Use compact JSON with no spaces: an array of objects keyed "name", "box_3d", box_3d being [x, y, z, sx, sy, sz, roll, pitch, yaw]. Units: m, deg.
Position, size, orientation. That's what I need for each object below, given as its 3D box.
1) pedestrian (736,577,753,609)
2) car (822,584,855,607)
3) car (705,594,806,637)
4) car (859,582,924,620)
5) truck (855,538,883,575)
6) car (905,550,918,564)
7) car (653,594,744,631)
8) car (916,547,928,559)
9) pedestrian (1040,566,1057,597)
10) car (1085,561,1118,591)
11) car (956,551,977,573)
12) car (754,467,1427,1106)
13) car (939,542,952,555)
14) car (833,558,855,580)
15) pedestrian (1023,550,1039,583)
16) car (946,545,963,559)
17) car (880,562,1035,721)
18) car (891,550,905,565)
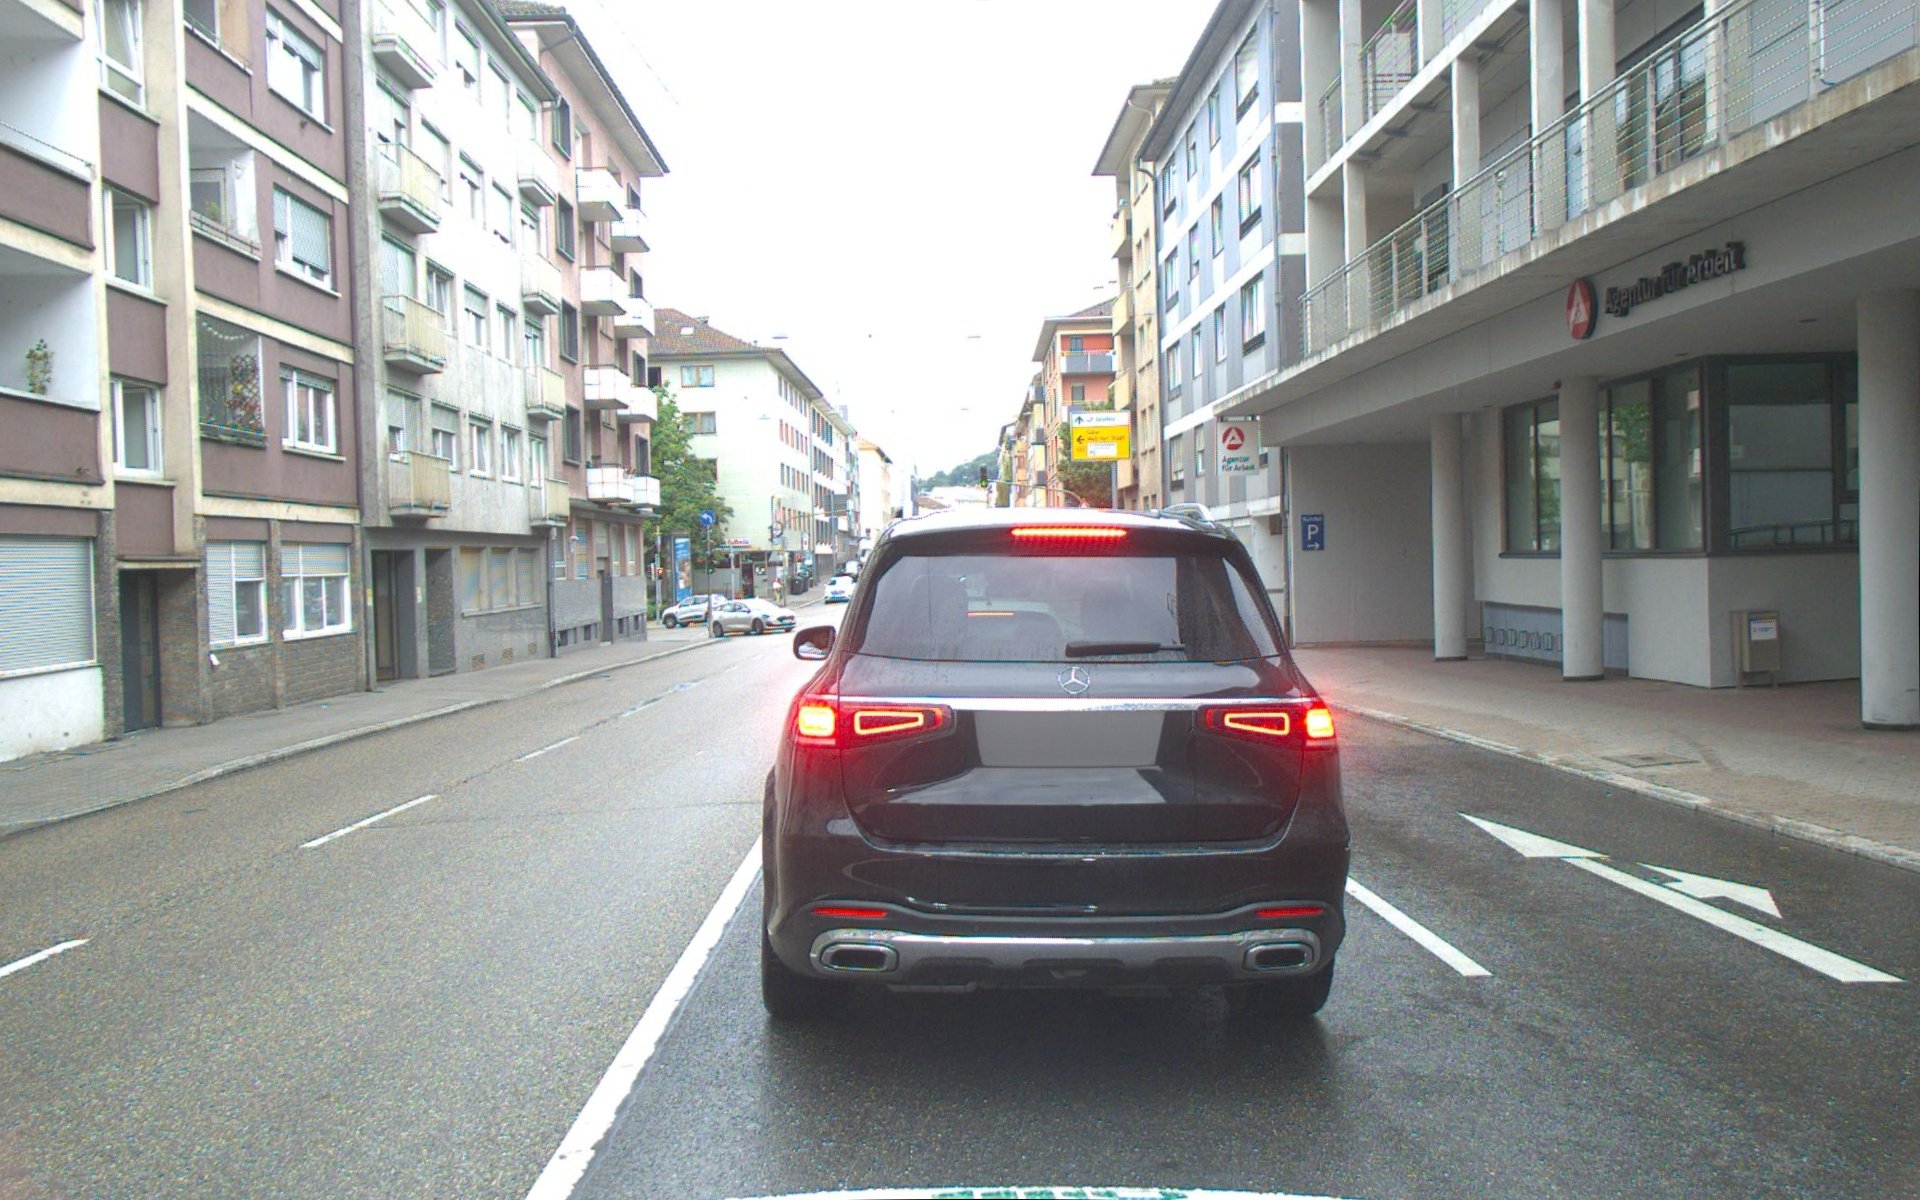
[{"name":"pedestrian","box_3d":[-13.252,-0.442,101.776,0.904,1.935,0.706,-2,0,-3]},{"name":"car","box_3d":[-7.355,-0.268,100.662,1.848,1.286,4.215,-3,0,-3]},{"name":"car","box_3d":[-8.591,0.642,69.235,4.279,1.566,1.768,-3,0,41]},{"name":"car","box_3d":[-3.159,0.067,75.797,1.788,1.566,4.193,-3,0,-19]},{"name":"truck","box_3d":[-8.601,-4.050,156.949,2.430,3.099,9.914,-3,0,-3]},{"name":"car","box_3d":[-6.477,-5.714,219.221,1.586,1.566,4.215,-3,0,-3]},{"name":"car","box_3d":[-13.010,0.617,82.192,4.116,1.566,1.624,-3,0,19]},{"name":"car","box_3d":[-5.804,-7.162,250.183,1.586,1.566,4.215,-3,0,-3]},{"name":"pedestrian","box_3d":[5.332,-1.127,99.487,0.904,1.836,0.706,-2,0,-3]},{"name":"car","box_3d":[8.094,-1.365,94.762,1.636,1.616,3.331,-2,1,1]},{"name":"car","box_3d":[0.578,-3.493,151.740,1.689,1.790,4.215,-3,0,-3]},{"name":"car","box_3d":[0.355,0.556,7.027,1.944,1.836,4.389,1,0,-1]},{"name":"car","box_3d":[-2.119,-7.416,237.526,1.586,1.566,4.215,-3,0,-3]},{"name":"car","box_3d":[-9.211,-2.483,131.498,1.586,1.566,4.215,-3,0,-3]},{"name":"pedestrian","box_3d":[4.544,-2.131,105.544,0.904,2.049,0.706,-2,0,-3]},{"name":"car","box_3d":[-0.635,-5.460,188.129,1.586,1.411,4.215,-3,0,-3]},{"name":"car","box_3d":[-0.132,0.478,20.835,1.716,1.762,4.215,-1,0,-3]},{"name":"car","box_3d":[-7.283,-4.942,193.612,1.586,1.566,4.215,-3,0,-3]}]
